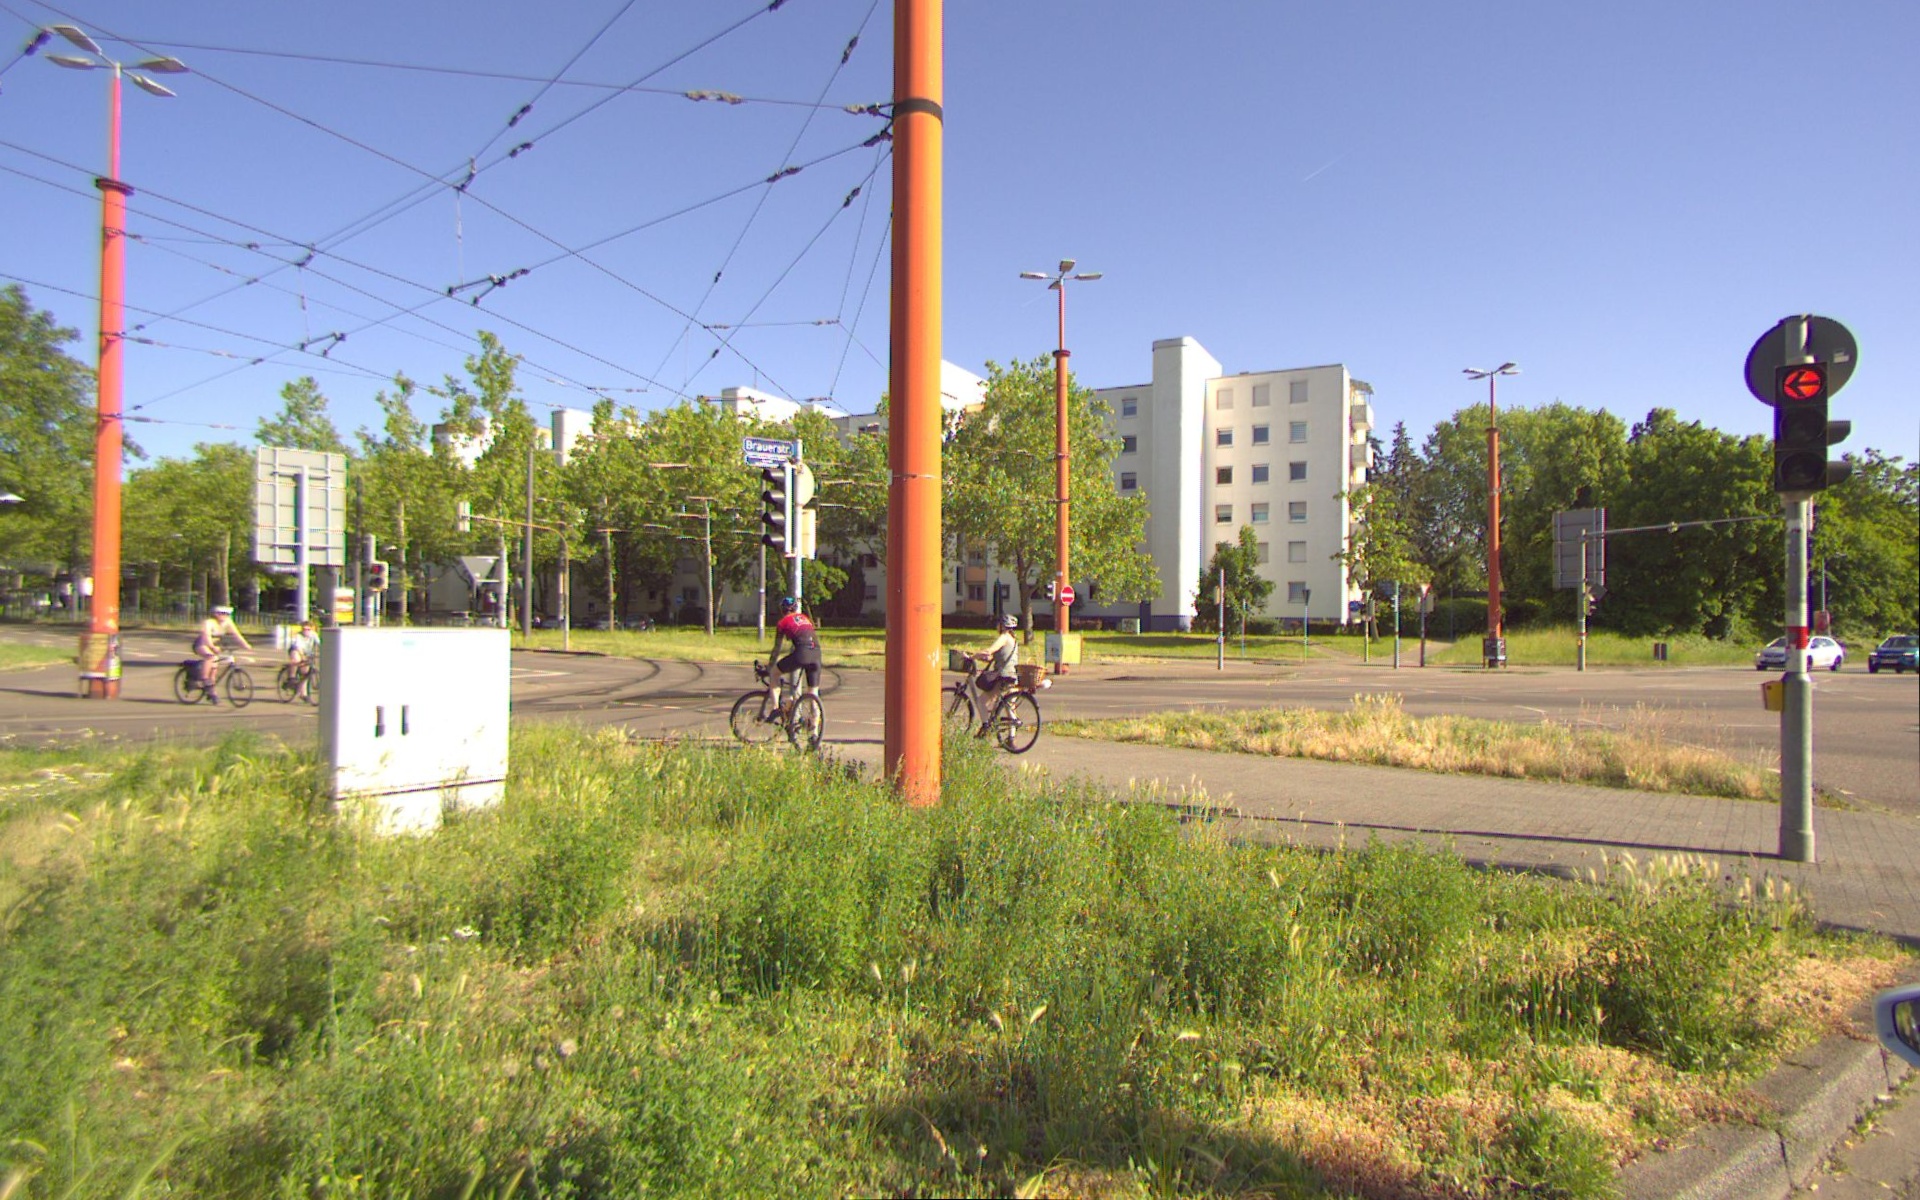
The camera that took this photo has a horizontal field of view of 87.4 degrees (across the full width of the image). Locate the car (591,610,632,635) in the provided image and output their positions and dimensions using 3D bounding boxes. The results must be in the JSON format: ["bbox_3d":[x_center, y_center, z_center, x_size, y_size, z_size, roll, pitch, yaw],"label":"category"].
[{"bbox_3d":[-26.114,1.682,75.328,1.962,1.840,3.997,1,-1,-5],"label":"car"}]

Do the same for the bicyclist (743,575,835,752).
[{"bbox_3d":[-2.068,0.745,12.139,0.921,2.040,0.736,1,-1,-25],"label":"bicyclist"}]

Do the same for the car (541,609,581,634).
[{"bbox_3d":[-31.197,1.671,78.677,1.963,1.840,3.995,1,-1,-8],"label":"car"}]

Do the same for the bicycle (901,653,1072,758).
[{"bbox_3d":[0.312,1.224,12.121,1.855,1.102,0.925,0,-1,34],"label":"bicycle"}]

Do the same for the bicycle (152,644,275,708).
[{"bbox_3d":[-14.031,1.409,18.895,1.849,1.102,0.928,0,-1,18],"label":"bicycle"}]

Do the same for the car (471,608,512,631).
[{"bbox_3d":[-39.289,1.636,84.324,1.963,1.840,3.995,1,-1,-8],"label":"car"}]

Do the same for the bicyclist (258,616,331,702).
[{"bbox_3d":[-13.214,1.159,19.967,0.726,1.659,0.934,0,-1,18],"label":"bicyclist"}]

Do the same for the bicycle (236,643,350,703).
[{"bbox_3d":[-13.254,1.439,19.979,1.849,1.102,0.928,0,-1,18],"label":"bicycle"}]

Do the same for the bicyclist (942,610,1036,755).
[{"bbox_3d":[0.356,0.954,12.097,0.728,1.659,0.931,0,-1,35],"label":"bicyclist"}]

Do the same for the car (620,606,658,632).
[{"bbox_3d":[-23.408,1.394,73.416,1.963,1.840,3.995,1,-1,-8],"label":"car"}]

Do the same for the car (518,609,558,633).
[{"bbox_3d":[-33.813,1.666,80.527,1.963,1.840,3.995,1,-1,-8],"label":"car"}]

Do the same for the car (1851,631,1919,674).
[{"bbox_3d":[37.264,2.036,39.866,4.079,1.594,1.981,2,-1,-35],"label":"car"}]

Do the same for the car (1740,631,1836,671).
[{"bbox_3d":[35.141,2.148,42.606,4.075,1.594,1.983,1,-1,-32],"label":"car"}]

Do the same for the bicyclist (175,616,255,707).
[{"bbox_3d":[-14.005,1.130,18.896,0.726,1.659,0.934,0,-1,18],"label":"bicyclist"}]

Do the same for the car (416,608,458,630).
[{"bbox_3d":[-46.027,1.670,88.474,1.963,1.840,3.995,1,-1,-8],"label":"car"}]

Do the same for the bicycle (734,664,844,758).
[{"bbox_3d":[-2.118,1.305,12.235,0.915,0.976,1.747,1,-1,-24],"label":"bicycle"}]

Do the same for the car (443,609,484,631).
[{"bbox_3d":[-42.678,1.694,86.446,1.963,1.840,3.995,1,-1,-8],"label":"car"}]
